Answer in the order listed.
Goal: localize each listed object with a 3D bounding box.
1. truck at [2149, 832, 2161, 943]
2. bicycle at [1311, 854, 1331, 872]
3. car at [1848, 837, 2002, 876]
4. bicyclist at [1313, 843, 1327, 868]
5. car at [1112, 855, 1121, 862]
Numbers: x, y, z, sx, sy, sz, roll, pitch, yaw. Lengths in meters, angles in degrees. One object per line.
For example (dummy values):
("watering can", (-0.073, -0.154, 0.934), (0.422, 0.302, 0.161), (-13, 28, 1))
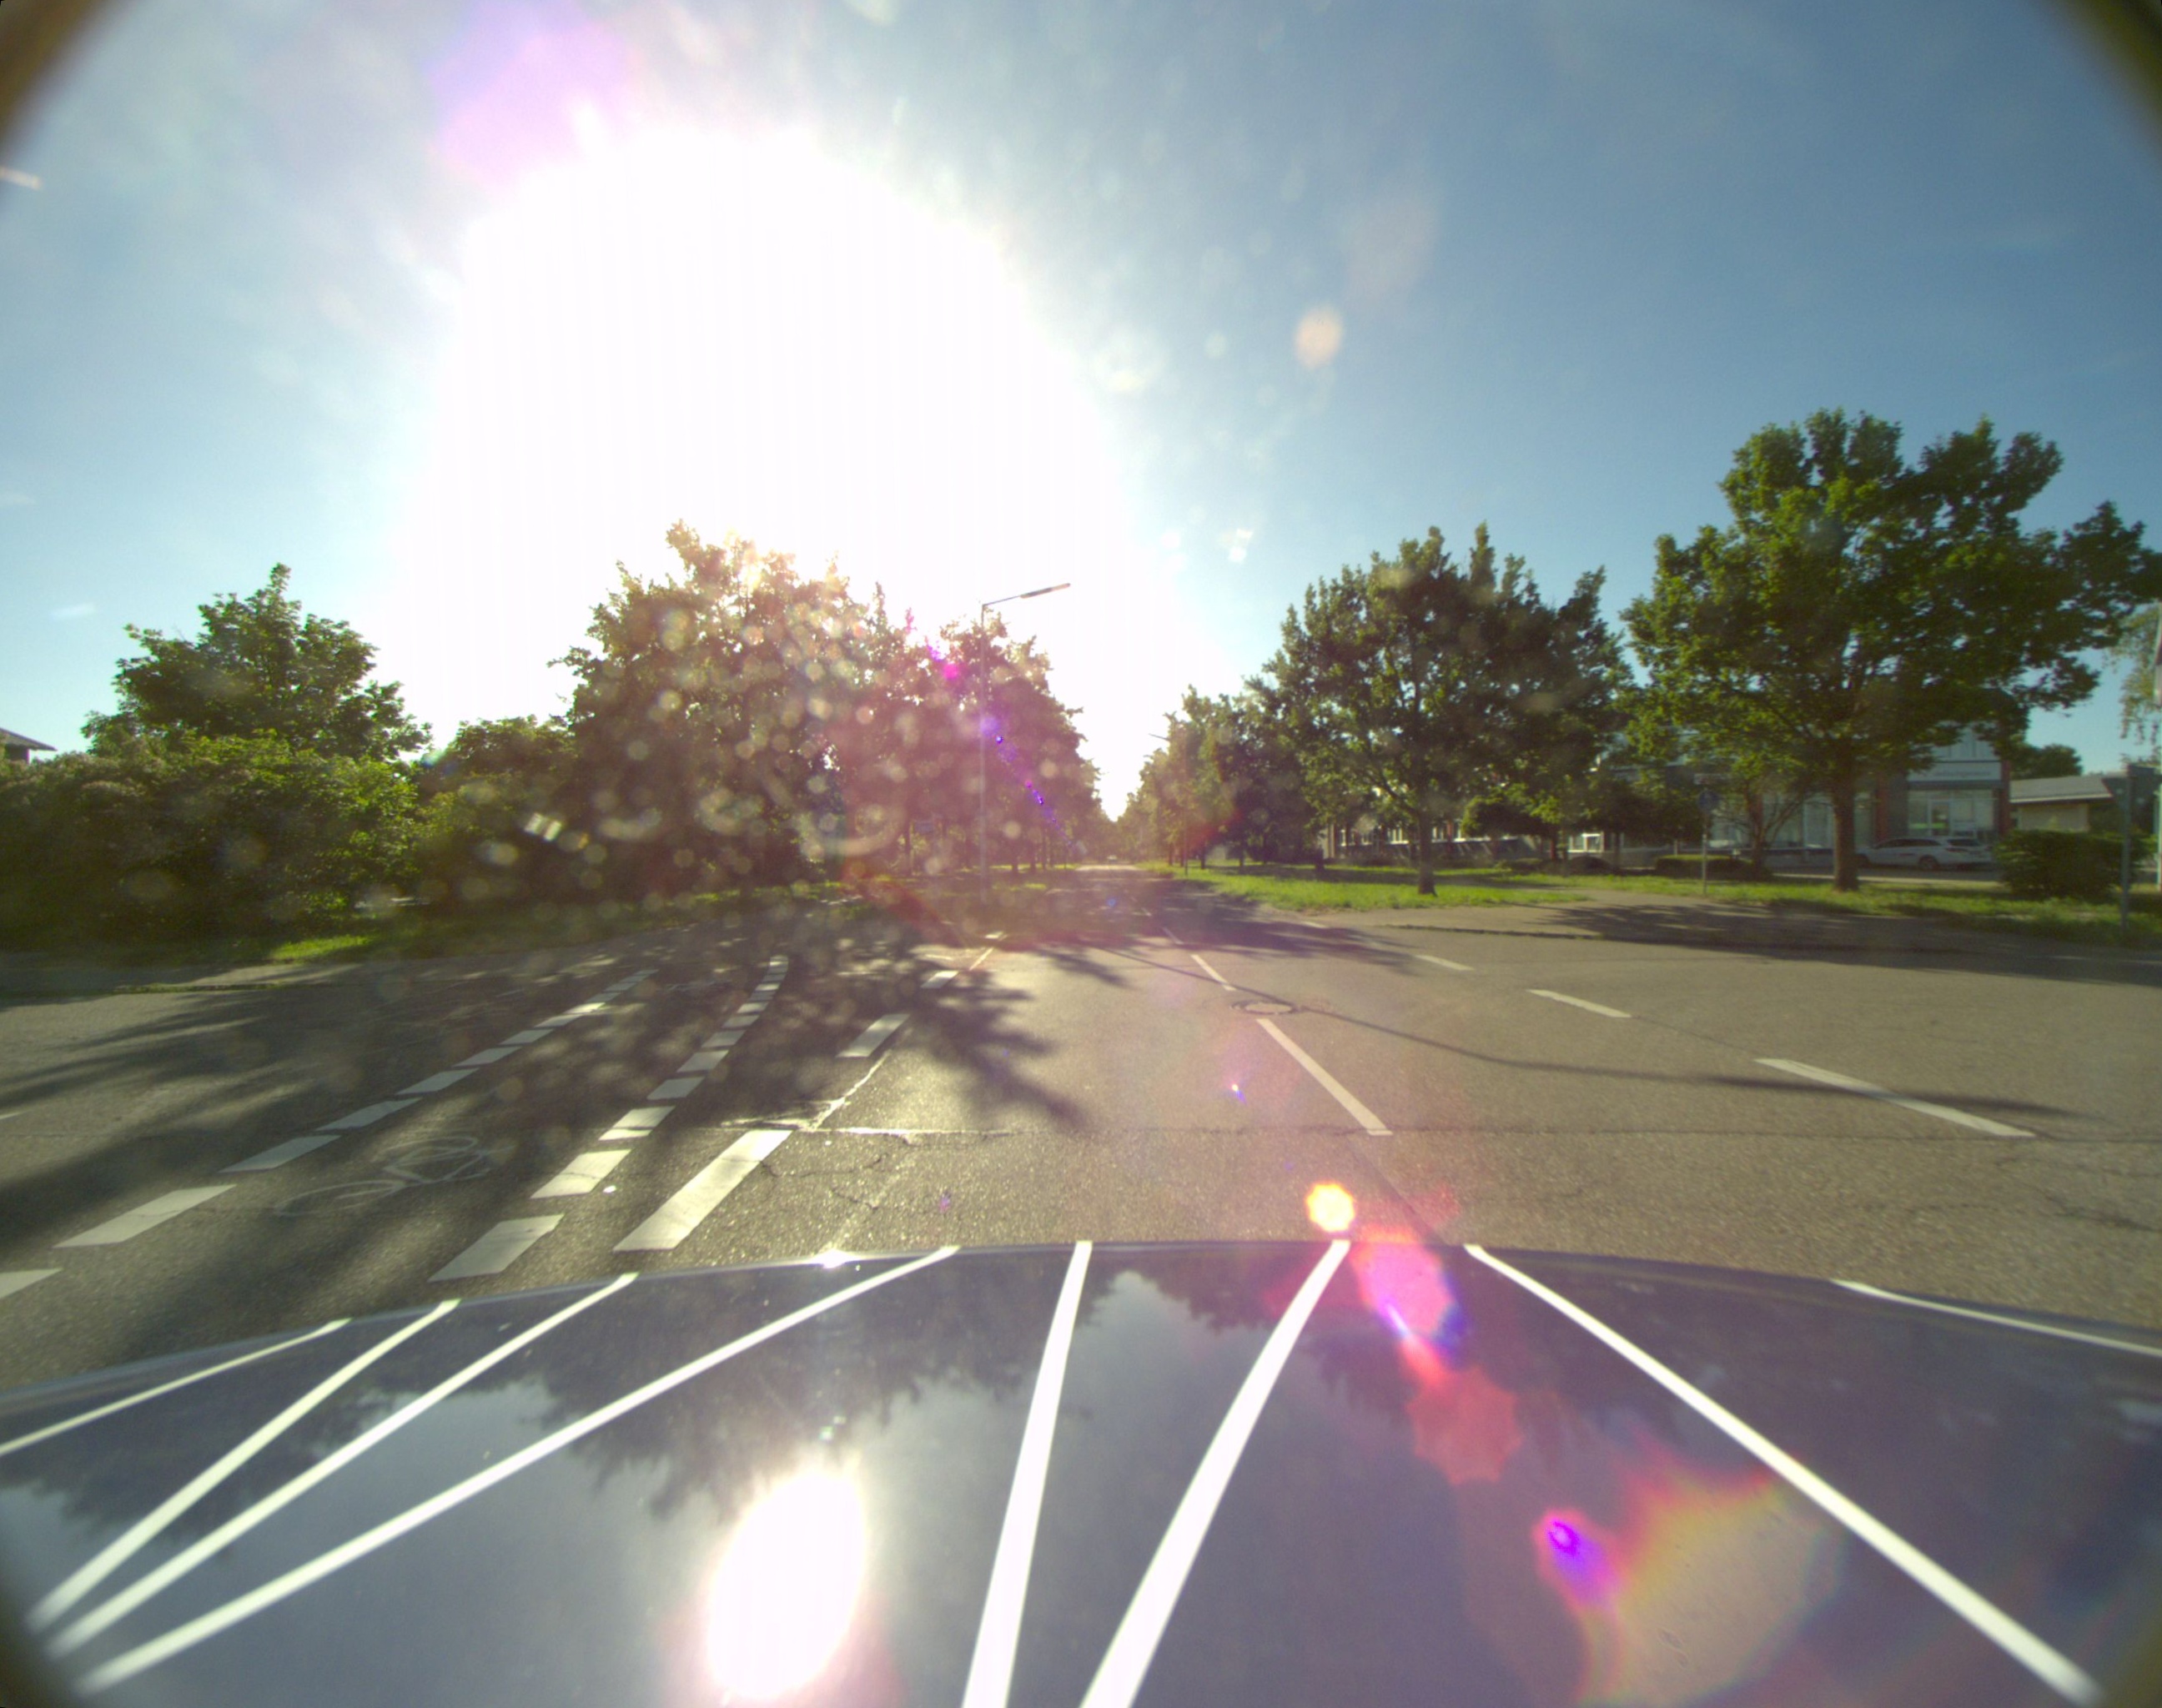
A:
("truck", (23.436, 0.599, 13.192), (7.131, 2.038, 2.140), (0, 1, -3))
("bicycle", (15.678, 0.571, 49.691), (0.552, 1.155, 2.334), (-2, 1, 1))
("car", (37.188, 0.060, 33.674), (1.999, 1.486, 4.296), (-2, 2, -2))
("bicyclist", (15.675, 0.090, 49.821), (0.665, 1.619, 0.659), (-2, 1, 1))
("car", (8.608, 1.115, 185.744), (1.827, 1.477, 3.999), (-2, 1, -1))
